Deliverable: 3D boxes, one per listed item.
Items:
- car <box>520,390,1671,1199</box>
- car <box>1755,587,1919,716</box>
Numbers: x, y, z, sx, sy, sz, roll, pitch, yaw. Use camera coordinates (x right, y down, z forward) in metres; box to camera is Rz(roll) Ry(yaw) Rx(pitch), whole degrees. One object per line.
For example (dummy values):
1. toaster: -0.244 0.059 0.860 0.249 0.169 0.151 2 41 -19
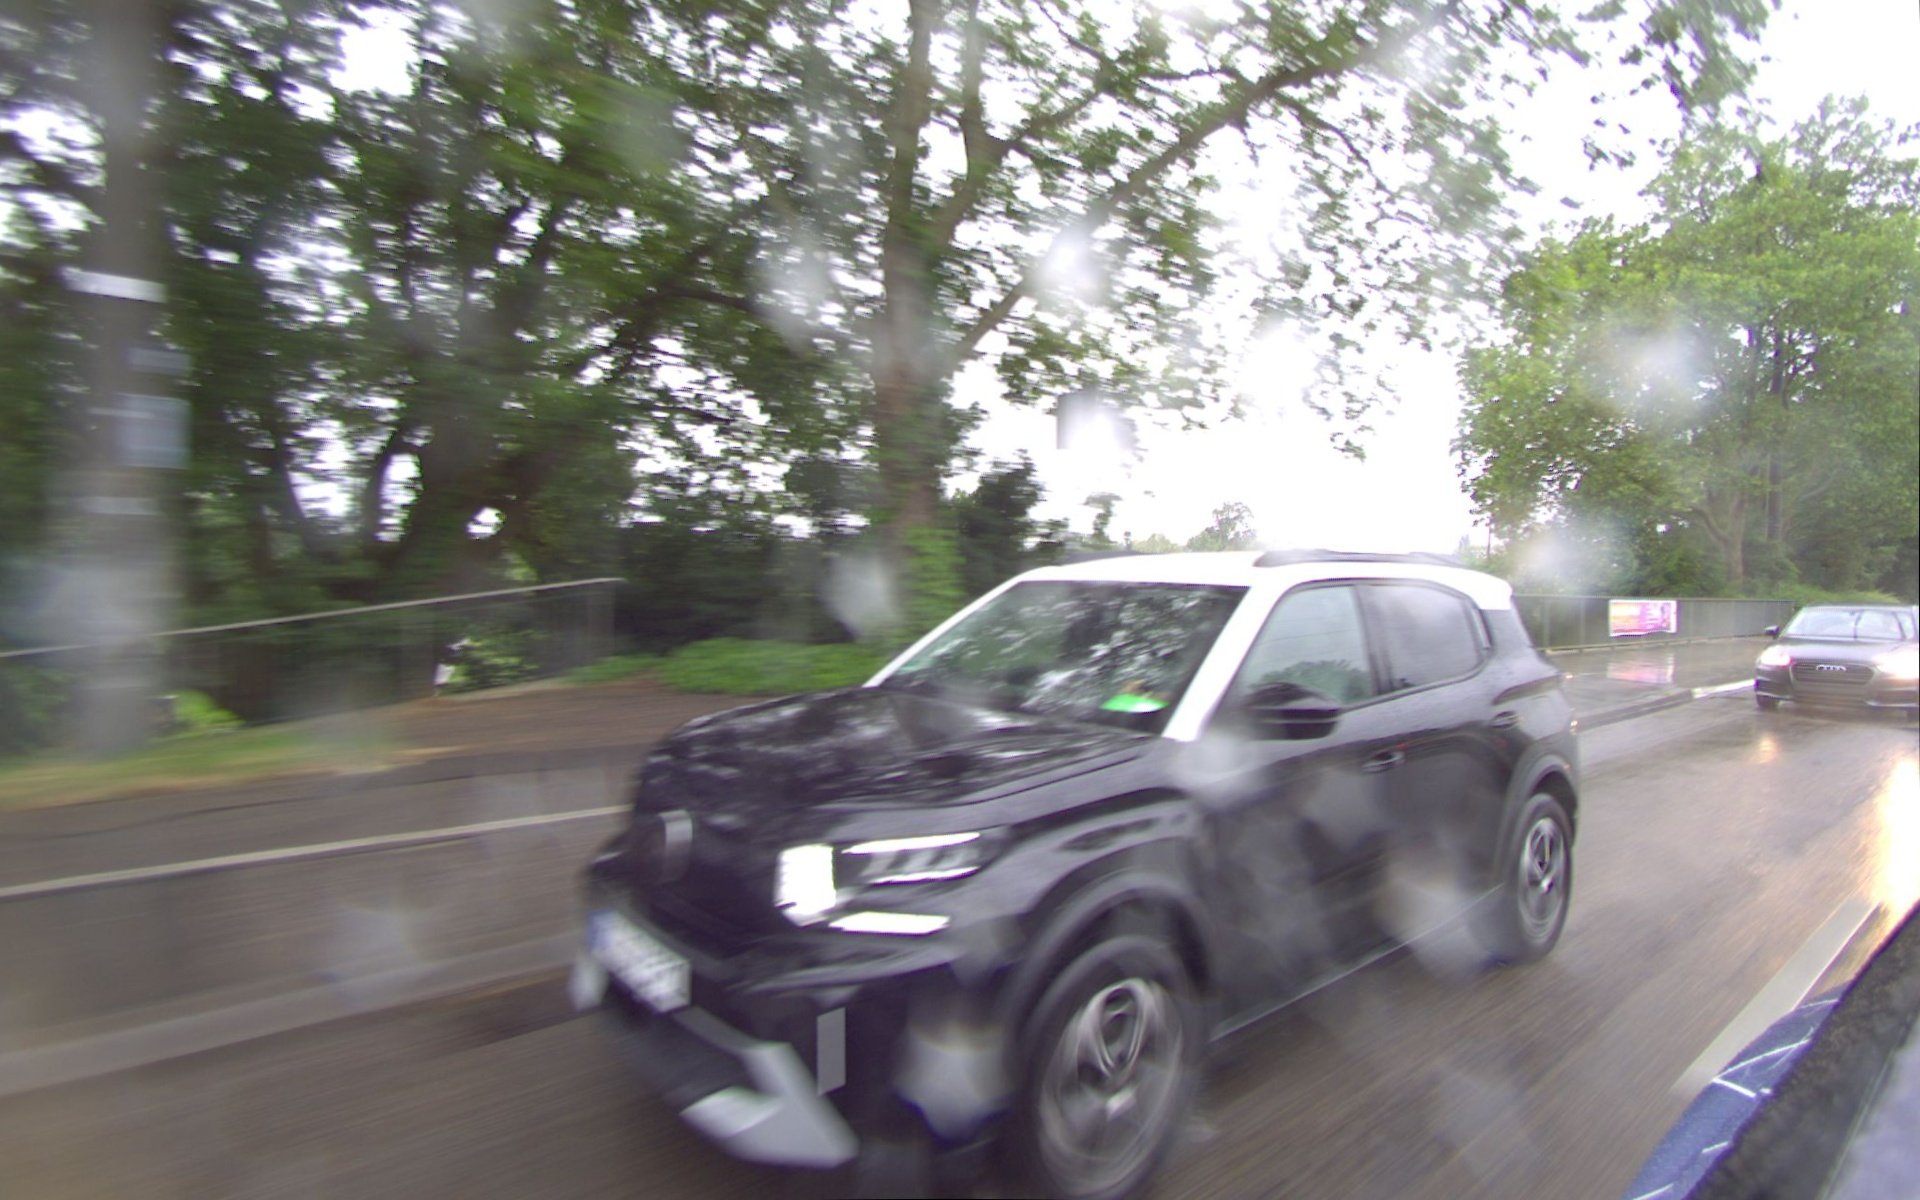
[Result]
1. car: 1.011 0.513 3.939 4.679 1.724 1.796 1 0 -41
2. car: 12.000 0.593 13.245 3.929 1.445 1.783 1 1 -41
